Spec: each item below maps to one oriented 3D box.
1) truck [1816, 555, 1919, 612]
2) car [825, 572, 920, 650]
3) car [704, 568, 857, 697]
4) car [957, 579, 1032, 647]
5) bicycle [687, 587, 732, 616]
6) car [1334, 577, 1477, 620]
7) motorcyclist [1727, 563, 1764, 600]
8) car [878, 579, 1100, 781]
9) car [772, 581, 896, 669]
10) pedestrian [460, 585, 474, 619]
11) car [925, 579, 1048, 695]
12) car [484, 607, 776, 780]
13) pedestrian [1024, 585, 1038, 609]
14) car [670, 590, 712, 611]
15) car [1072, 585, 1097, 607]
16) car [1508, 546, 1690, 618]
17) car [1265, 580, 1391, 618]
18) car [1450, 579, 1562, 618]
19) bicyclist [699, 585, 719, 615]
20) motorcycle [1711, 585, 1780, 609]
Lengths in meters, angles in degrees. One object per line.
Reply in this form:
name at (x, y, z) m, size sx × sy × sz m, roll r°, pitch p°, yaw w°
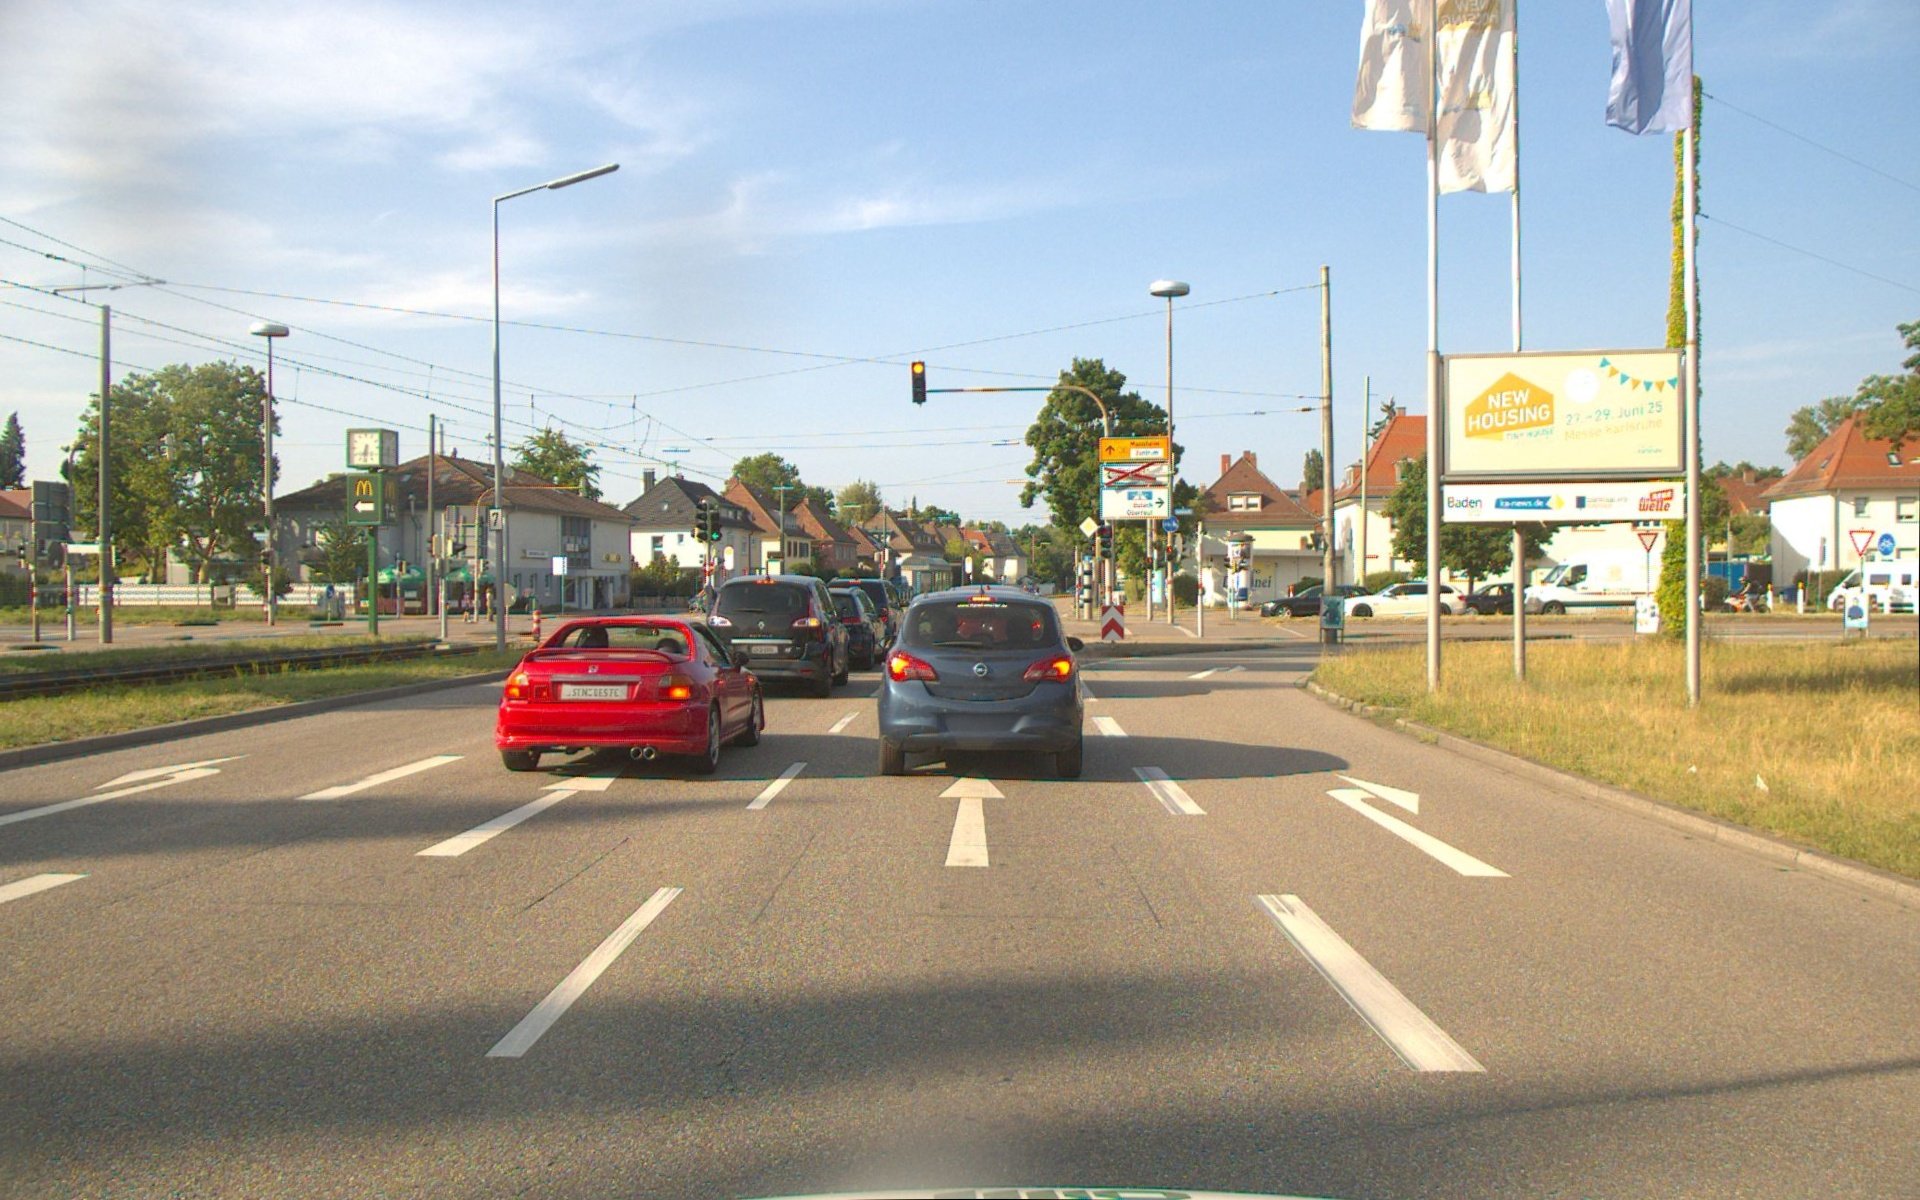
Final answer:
truck at (43.310, -0.779, 76.629) m, size 2.247 × 2.568 × 6.290 m, roll -1°, pitch 1°, yaw -31°
car at (-1.984, 0.222, 38.542) m, size 1.474 × 1.680 × 4.747 m, roll -1°, pitch 0°, yaw 6°
car at (-2.494, 0.405, 23.798) m, size 1.727 × 1.700 × 4.084 m, roll 0°, pitch 1°, yaw 0°
car at (0.793, 0.268, 37.955) m, size 1.622 × 1.468 × 4.015 m, roll -1°, pitch 0°, yaw 1°
bicycle at (-12.008, 0.072, 79.251) m, size 2.034 × 1.371 × 1.107 m, roll 1°, pitch 0°, yaw -6°
car at (16.844, -0.064, 62.752) m, size 4.987 × 1.590 × 1.841 m, roll -1°, pitch 0°, yaw 4°
motorcyclist at (29.091, -0.682, 61.268) m, size 1.043 × 1.375 × 0.680 m, roll 0°, pitch 0°, yaw 2°
car at (0.184, 0.590, 14.866) m, size 1.706 × 1.532 × 4.222 m, roll 0°, pitch 1°, yaw -1°
car at (-2.288, 0.411, 31.087) m, size 1.664 × 1.534 × 4.556 m, roll 0°, pitch 1°, yaw 4°
pedestrian at (-23.879, 0.111, 80.149) m, size 0.501 × 1.627 × 0.540 m, roll 0°, pitch 0°, yaw 1°
car at (0.393, 0.487, 24.732) m, size 1.671 × 1.579 × 3.978 m, roll -1°, pitch 0°, yaw 1°
car at (-2.703, 0.711, 14.390) m, size 1.695 × 1.227 × 3.847 m, roll 0°, pitch 1°, yaw 1°
pedestrian at (4.449, -0.188, 103.309) m, size 0.737 × 1.525 × 0.828 m, roll 1°, pitch -1°, yaw 10°
car at (-18.033, 0.045, 111.114) m, size 1.628 × 1.369 × 4.080 m, roll -1°, pitch -1°, yaw 9°
car at (8.364, -0.247, 111.442) m, size 1.639 × 1.422 × 4.002 m, roll 1°, pitch 0°, yaw 4°
car at (24.044, -0.661, 62.372) m, size 6.078 × 2.628 × 2.001 m, roll 0°, pitch 0°, yaw 3°
car at (14.756, -0.042, 66.472) m, size 4.722 × 1.436 × 1.717 m, roll -1°, pitch 0°, yaw 4°
car at (21.746, -0.068, 65.979) m, size 3.903 × 1.478 × 1.717 m, roll -1°, pitch 0°, yaw 4°
bicyclist at (-12.009, 0.002, 79.225) m, size 0.867 × 1.456 × 1.135 m, roll 1°, pitch 0°, yaw -6°
motorcycle at (29.099, -0.124, 61.274) m, size 2.224 × 0.882 × 0.691 m, roll 0°, pitch 0°, yaw 2°
